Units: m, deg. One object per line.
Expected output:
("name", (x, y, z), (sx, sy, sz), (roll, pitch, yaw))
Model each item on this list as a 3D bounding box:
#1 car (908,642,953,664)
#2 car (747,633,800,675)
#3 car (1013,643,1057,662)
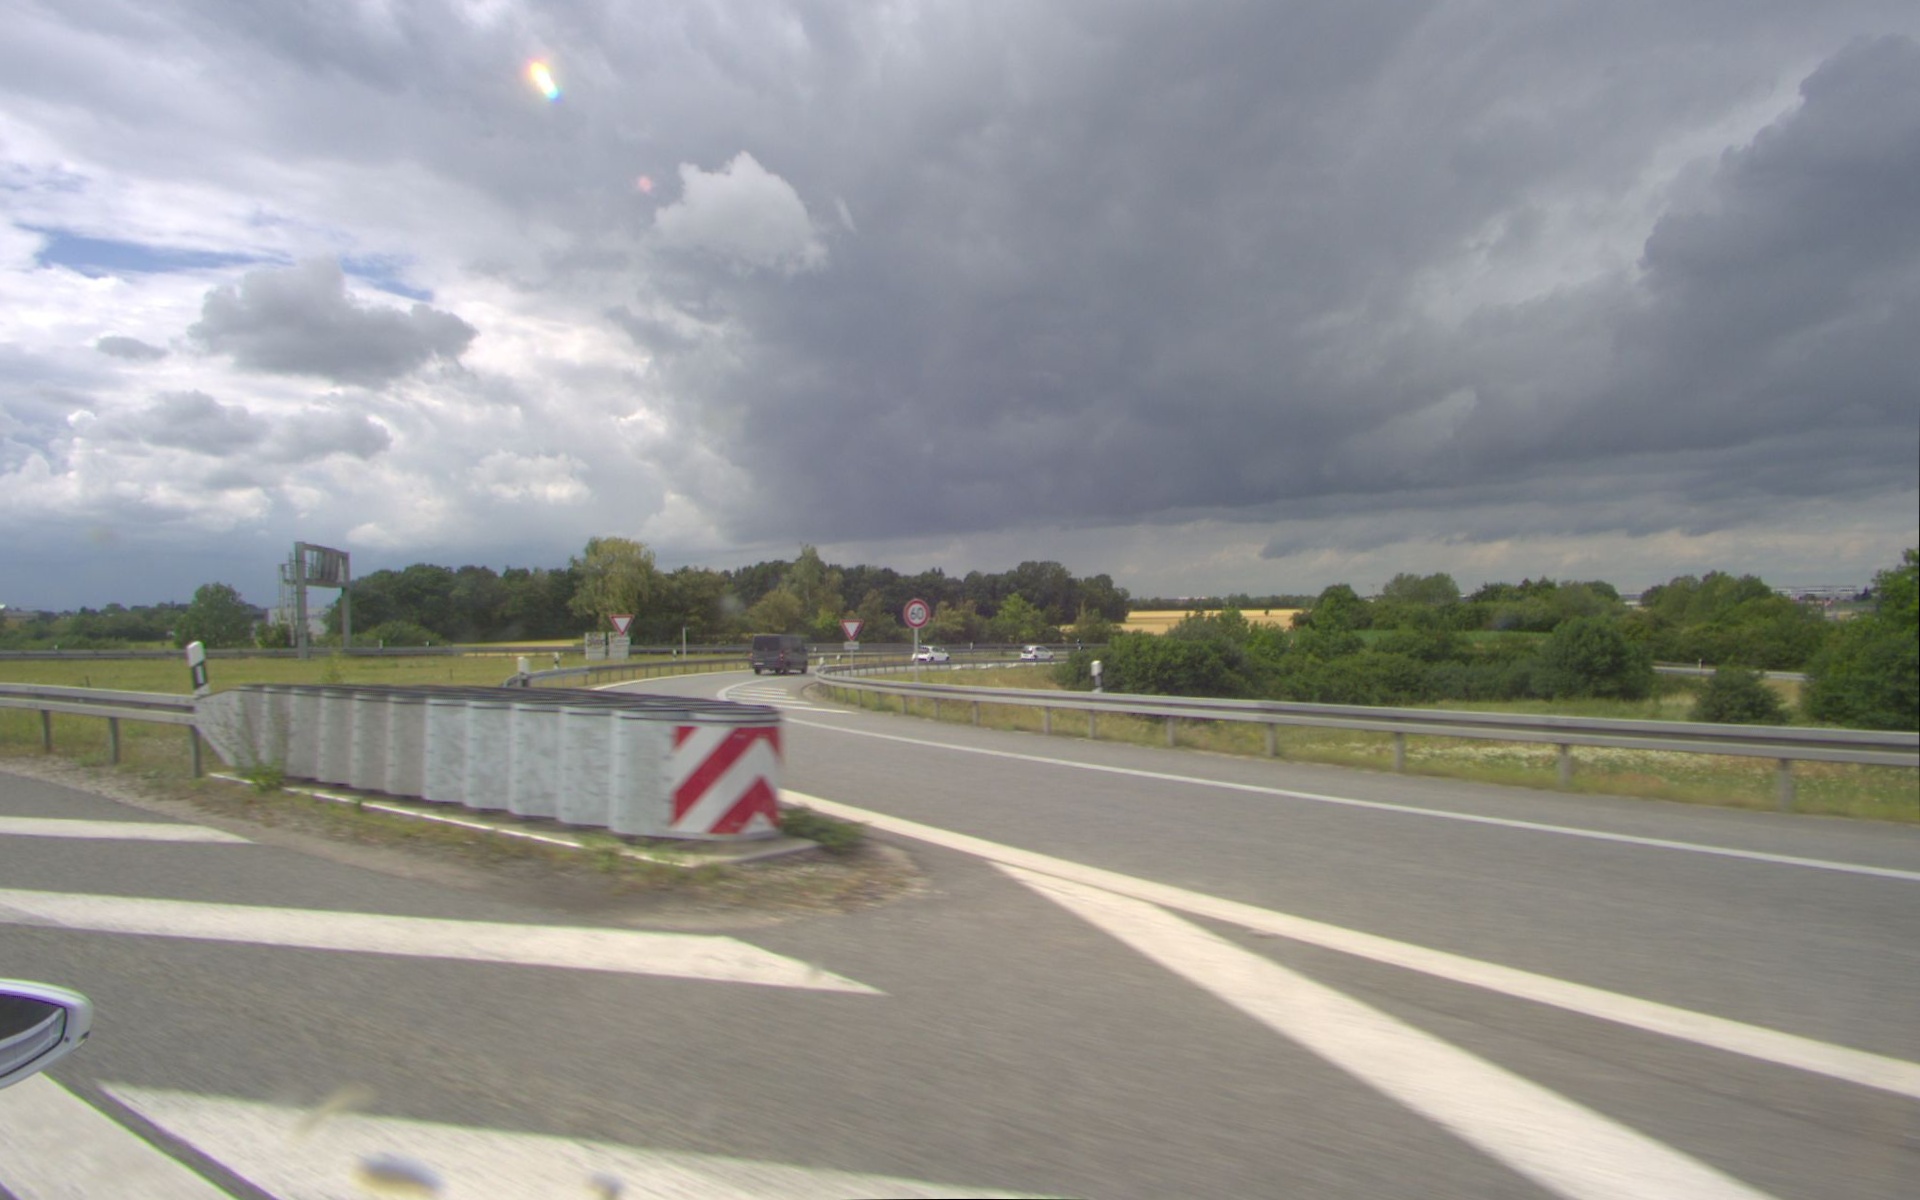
("car", (-2.454, 4.452, 84.189), (1.969, 1.731, 3.984), (0, -1, 29))
("car", (-10.937, 3.120, 58.998), (1.875, 2.291, 4.650), (1, -1, 4))
("car", (7.202, 5.030, 96.414), (3.955, 1.731, 1.984), (2, -1, -39))
